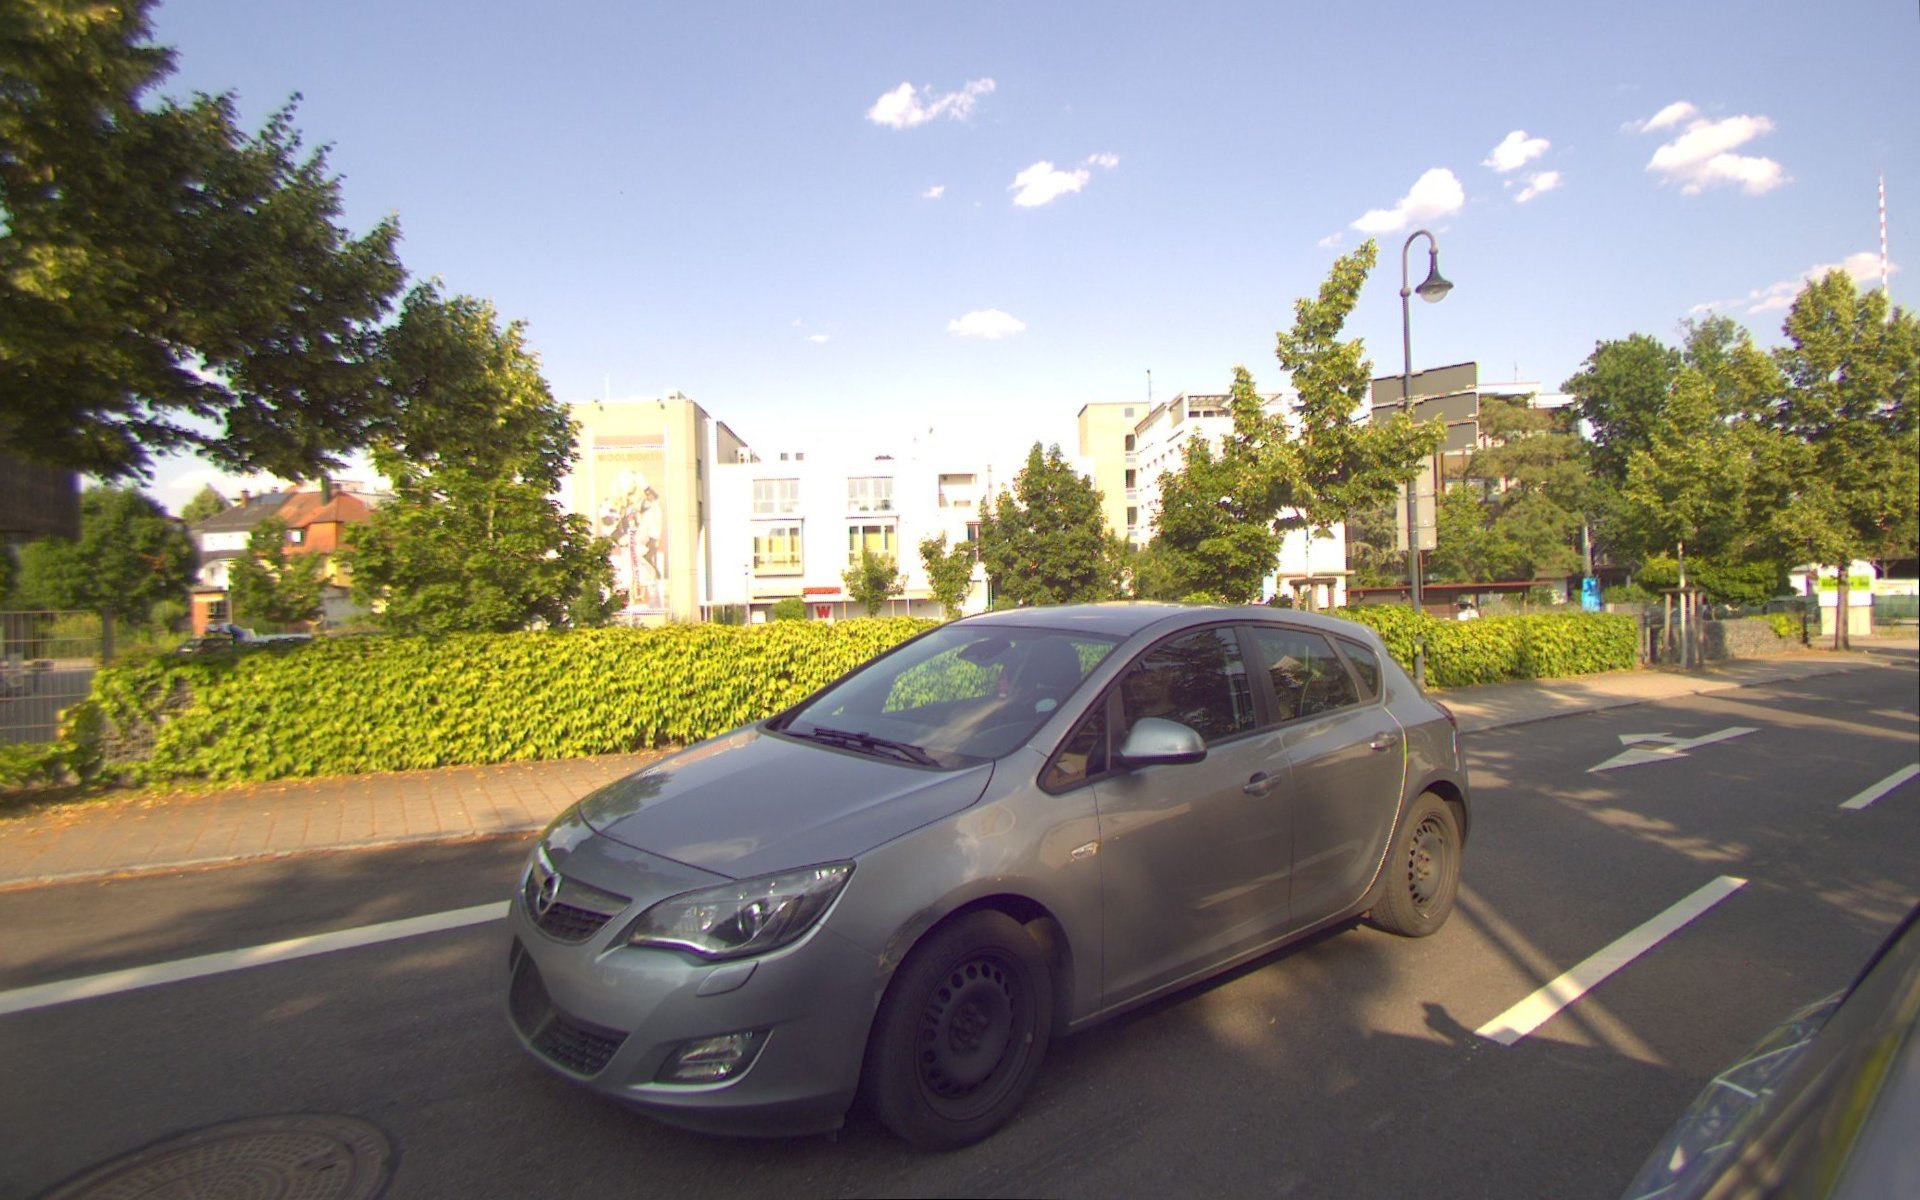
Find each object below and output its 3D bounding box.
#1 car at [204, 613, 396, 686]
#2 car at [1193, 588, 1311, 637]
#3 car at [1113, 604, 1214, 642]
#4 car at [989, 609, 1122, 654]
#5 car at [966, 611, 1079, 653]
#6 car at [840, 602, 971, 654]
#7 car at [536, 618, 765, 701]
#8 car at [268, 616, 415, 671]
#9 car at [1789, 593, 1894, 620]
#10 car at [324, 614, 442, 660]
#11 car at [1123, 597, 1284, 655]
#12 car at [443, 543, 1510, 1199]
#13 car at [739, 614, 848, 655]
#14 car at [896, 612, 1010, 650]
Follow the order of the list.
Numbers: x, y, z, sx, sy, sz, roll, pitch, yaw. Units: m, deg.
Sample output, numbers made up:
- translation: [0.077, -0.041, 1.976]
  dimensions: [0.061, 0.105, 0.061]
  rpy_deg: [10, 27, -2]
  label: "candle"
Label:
- translation: [-16.629, 1.198, 25.753]
  dimensions: [3.919, 1.649, 2.002]
  rpy_deg: [-1, 0, -29]
  label: "car"
- translation: [11.834, 0.476, 40.938]
  dimensions: [4.555, 1.878, 2.001]
  rpy_deg: [-1, -1, -31]
  label: "car"
- translation: [9.590, 1.062, 47.523]
  dimensions: [4.458, 1.669, 2.001]
  rpy_deg: [-1, -1, -31]
  label: "car"
- translation: [3.471, 1.086, 36.402]
  dimensions: [4.459, 1.462, 2.001]
  rpy_deg: [-1, -1, -32]
  label: "car"
- translation: [2.402, 1.190, 38.905]
  dimensions: [3.875, 1.462, 2.001]
  rpy_deg: [-1, -1, -32]
  label: "car"
- translation: [-1.952, 0.992, 36.157]
  dimensions: [4.227, 1.746, 1.897]
  rpy_deg: [0, -3, -26]
  label: "car"
- translation: [-6.761, 1.232, 22.234]
  dimensions: [4.459, 1.559, 2.001]
  rpy_deg: [-1, -1, -32]
  label: "car"
- translation: [-19.788, 1.350, 32.585]
  dimensions: [3.919, 1.571, 2.002]
  rpy_deg: [-1, 0, -29]
  label: "car"
- translation: [49.340, 0.385, 56.729]
  dimensions: [1.898, 1.438, 4.006]
  rpy_deg: [-1, -1, -26]
  label: "car"
- translation: [-22.458, 1.388, 39.553]
  dimensions: [3.919, 1.649, 2.002]
  rpy_deg: [-1, 0, -29]
  label: "car"
- translation: [7.186, 0.755, 29.711]
  dimensions: [4.459, 1.551, 2.000]
  rpy_deg: [-1, -2, -32]
  label: "car"
- translation: [0.428, 0.639, 4.098]
  dimensions: [4.229, 1.509, 1.725]
  rpy_deg: [0, 0, -40]
  label: "car"
- translation: [-7.423, 1.514, 44.986]
  dimensions: [4.453, 1.669, 2.004]
  rpy_deg: [-1, -1, -21]
  label: "car"
- translation: [-0.287, 1.279, 42.614]
  dimensions: [4.459, 1.462, 1.879]
  rpy_deg: [-1, -1, -32]
  label: "car"
